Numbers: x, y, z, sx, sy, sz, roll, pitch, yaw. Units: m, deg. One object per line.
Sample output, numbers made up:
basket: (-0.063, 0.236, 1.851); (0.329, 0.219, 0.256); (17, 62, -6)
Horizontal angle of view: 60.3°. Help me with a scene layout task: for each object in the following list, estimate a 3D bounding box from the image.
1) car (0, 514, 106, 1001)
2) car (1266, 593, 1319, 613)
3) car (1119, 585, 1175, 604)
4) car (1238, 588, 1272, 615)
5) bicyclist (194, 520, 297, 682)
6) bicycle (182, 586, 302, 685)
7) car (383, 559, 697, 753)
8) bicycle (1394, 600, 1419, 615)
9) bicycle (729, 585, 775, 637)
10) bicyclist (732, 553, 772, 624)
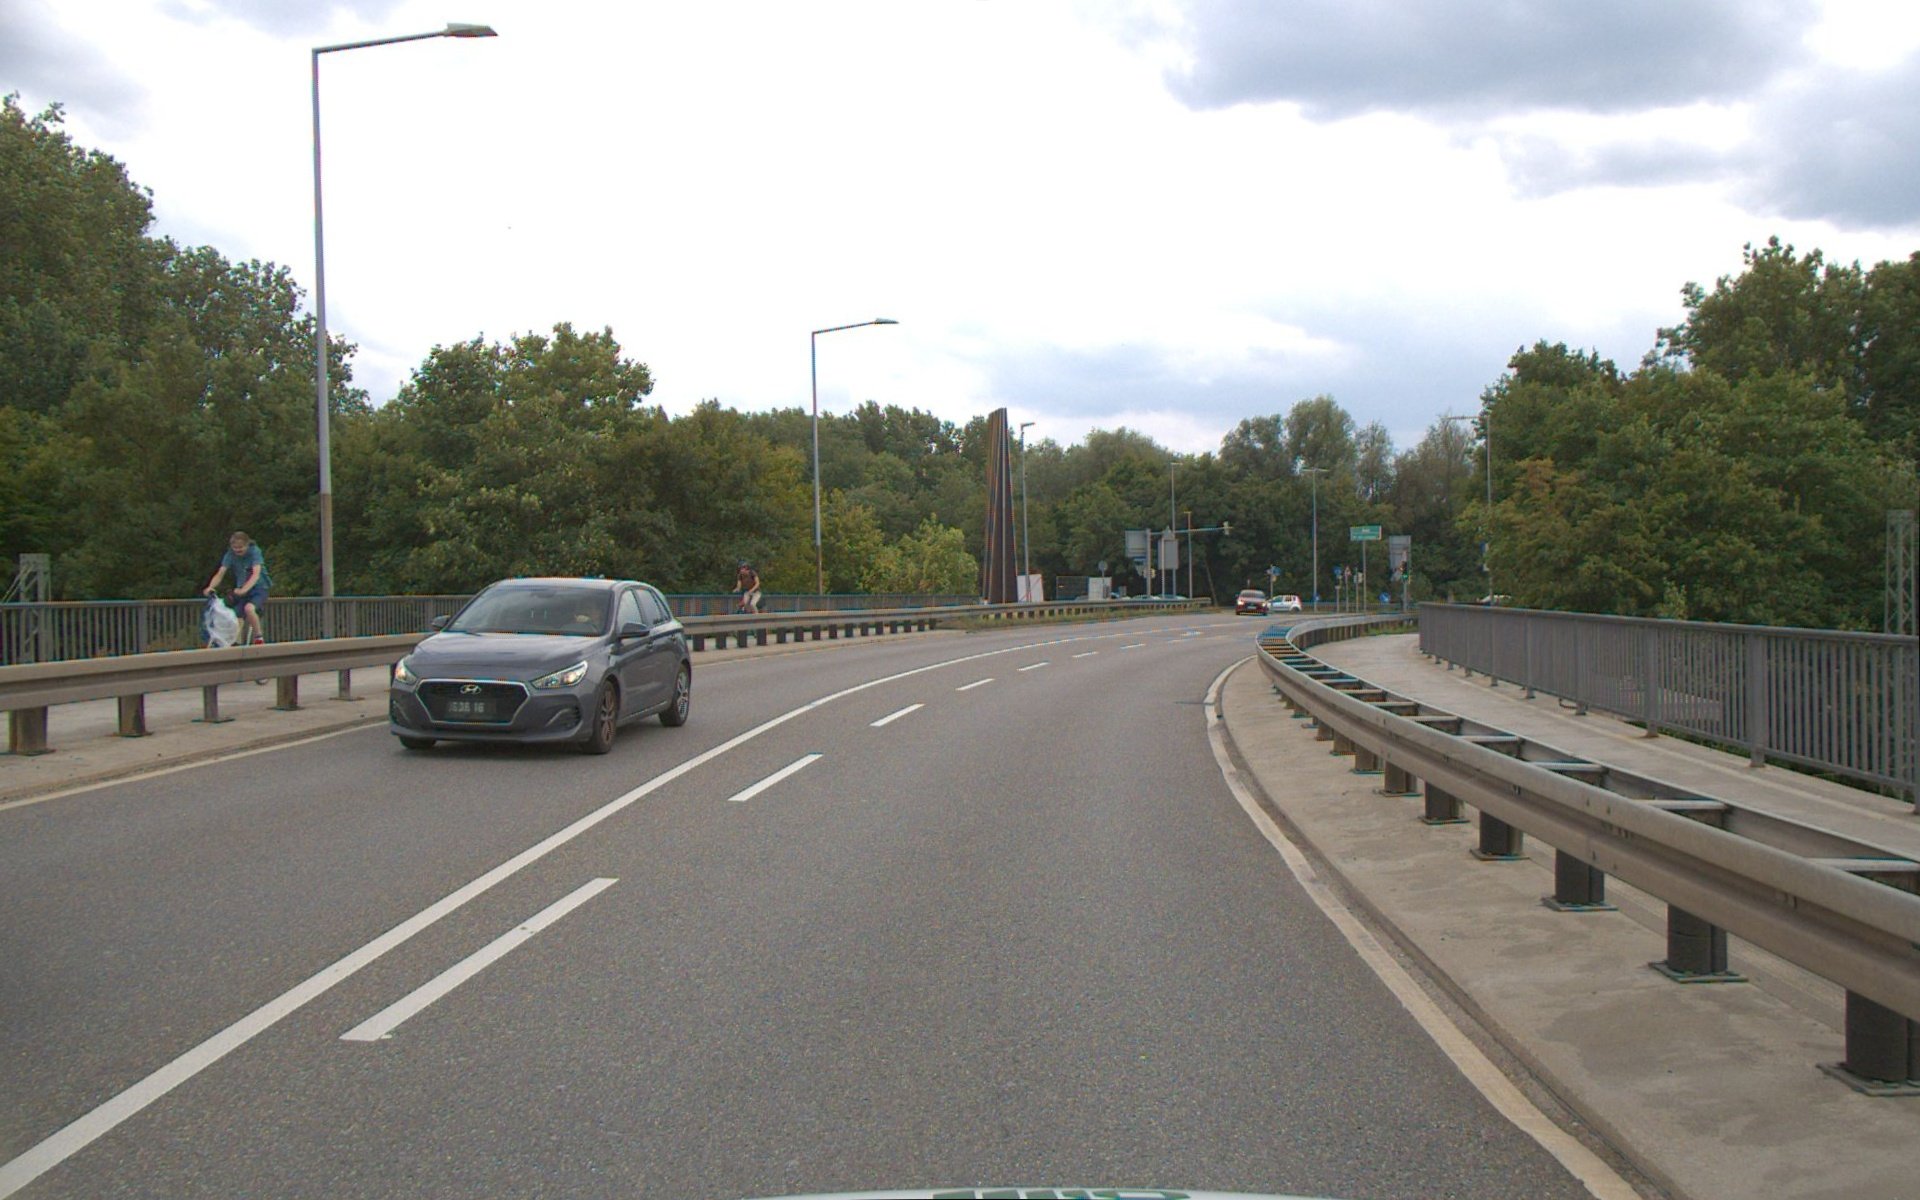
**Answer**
car: (-4.131, 0.516, 3.746); (1.901, 1.621, 4.773); (1, 0, 0)
car: (27.148, 0.233, 135.113); (3.905, 1.579, 2.000); (1, 0, 0)
car: (13.862, -0.401, 122.426); (1.984, 1.333, 3.747); (1, 0, -43)
car: (17.266, 0.096, 96.652); (1.757, 1.497, 4.640); (1, 0, 12)
bicyclist: (-8.320, 0.010, 19.287); (0.831, 1.840, 0.796); (1, 0, -1)
bicycle: (-8.311, 0.387, 19.225); (0.632, 1.086, 1.761); (1, 0, -1)
car: (-3.666, 0.433, 15.265); (1.771, 1.502, 4.382); (1, 0, 0)
bicycle: (34.636, 0.570, 128.289); (0.699, 1.071, 1.922); (1, -2, -33)
bicycle: (-4.942, 0.259, 39.357); (0.621, 1.194, 1.907); (1, 0, 7)
bicyclist: (-4.940, -0.264, 39.318); (0.755, 1.660, 0.650); (1, -1, 9)
